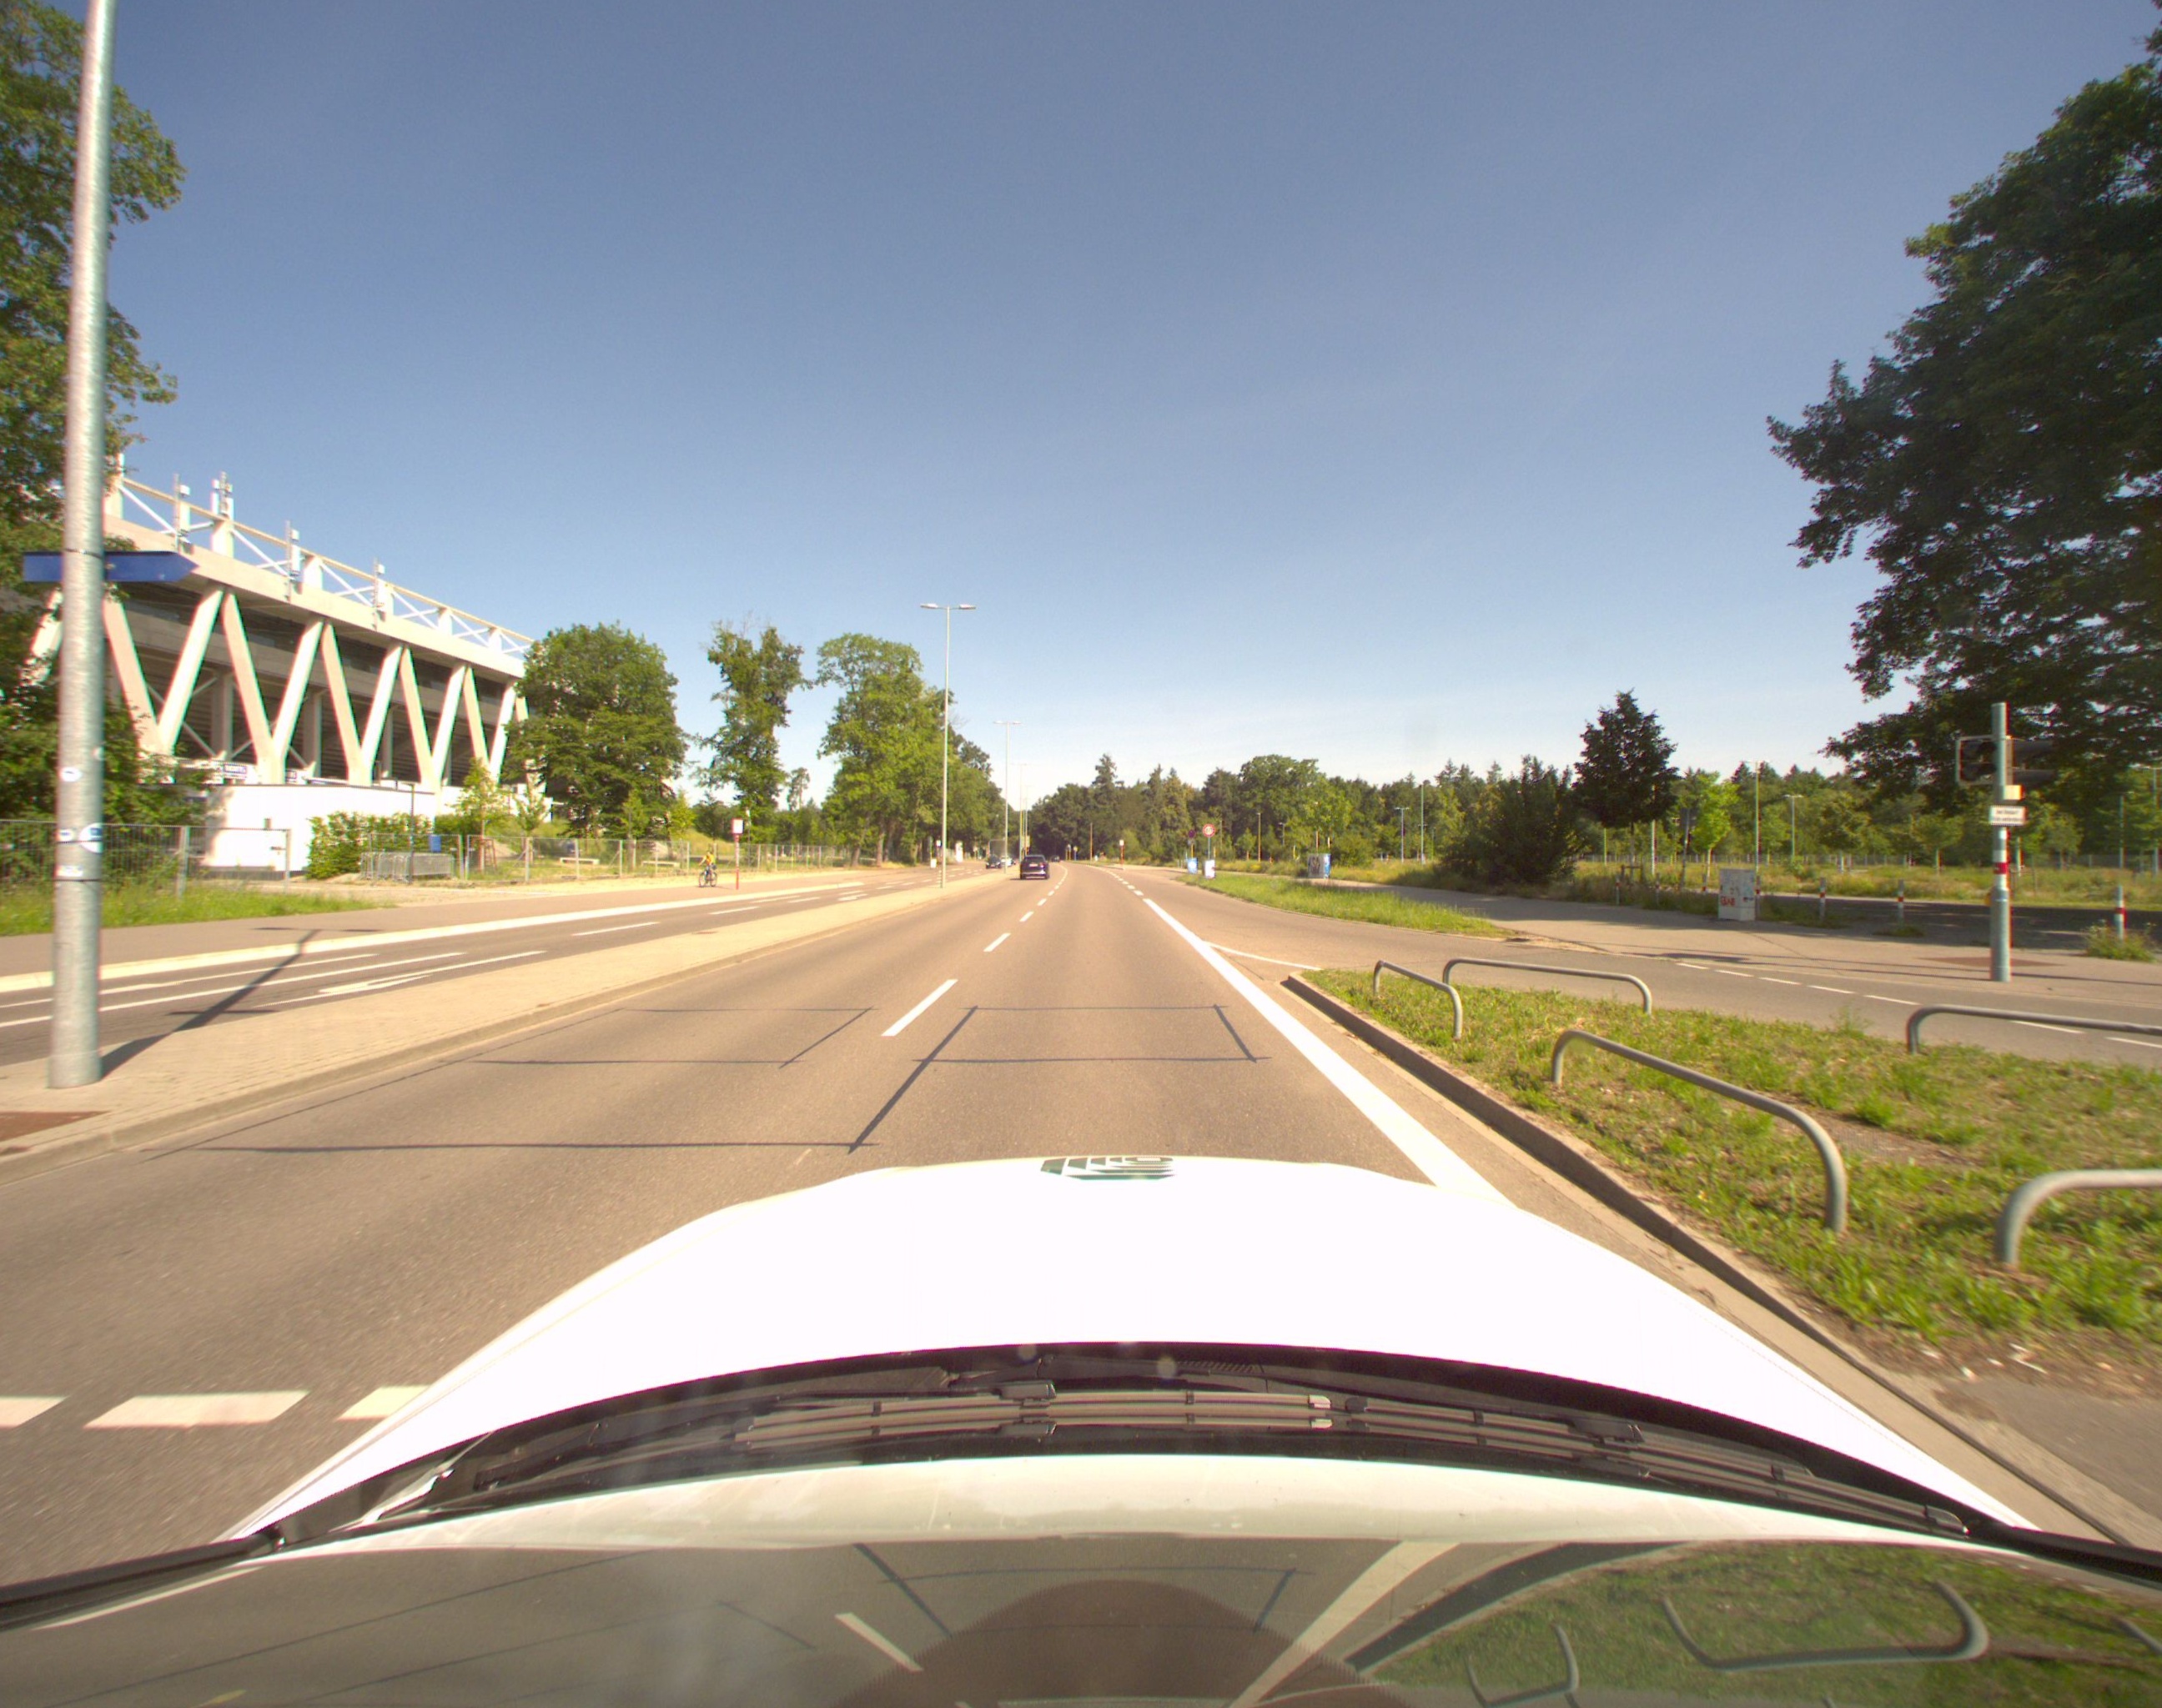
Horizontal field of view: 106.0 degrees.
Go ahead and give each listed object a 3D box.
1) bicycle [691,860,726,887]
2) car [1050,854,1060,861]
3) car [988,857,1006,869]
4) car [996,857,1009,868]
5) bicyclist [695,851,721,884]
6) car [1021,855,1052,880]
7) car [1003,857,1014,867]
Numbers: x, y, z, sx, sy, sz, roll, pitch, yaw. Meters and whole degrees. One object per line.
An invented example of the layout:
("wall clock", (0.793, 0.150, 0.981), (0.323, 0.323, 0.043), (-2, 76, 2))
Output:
("bicycle", (-16.976, 0.874, 37.140), (0.657, 1.136, 1.879), (2, 0, 1))
("car", (-5.230, 0.736, 163.690), (1.937, 1.420, 4.287), (0, 0, -4))
("car", (-10.096, 1.048, 97.948), (1.806, 1.388, 4.158), (-2, 0, -3))
("car", (-11.103, 1.218, 115.047), (1.619, 1.466, 3.797), (-2, 0, -2))
("bicyclist", (-16.954, 0.613, 37.026), (0.657, 1.467, 1.057), (2, 0, 1))
("car", (-2.859, 0.863, 52.901), (1.681, 1.544, 4.150), (-1, 0, 1))
("car", (-11.890, 1.315, 133.972), (1.750, 1.486, 3.940), (-2, 0, -5))
